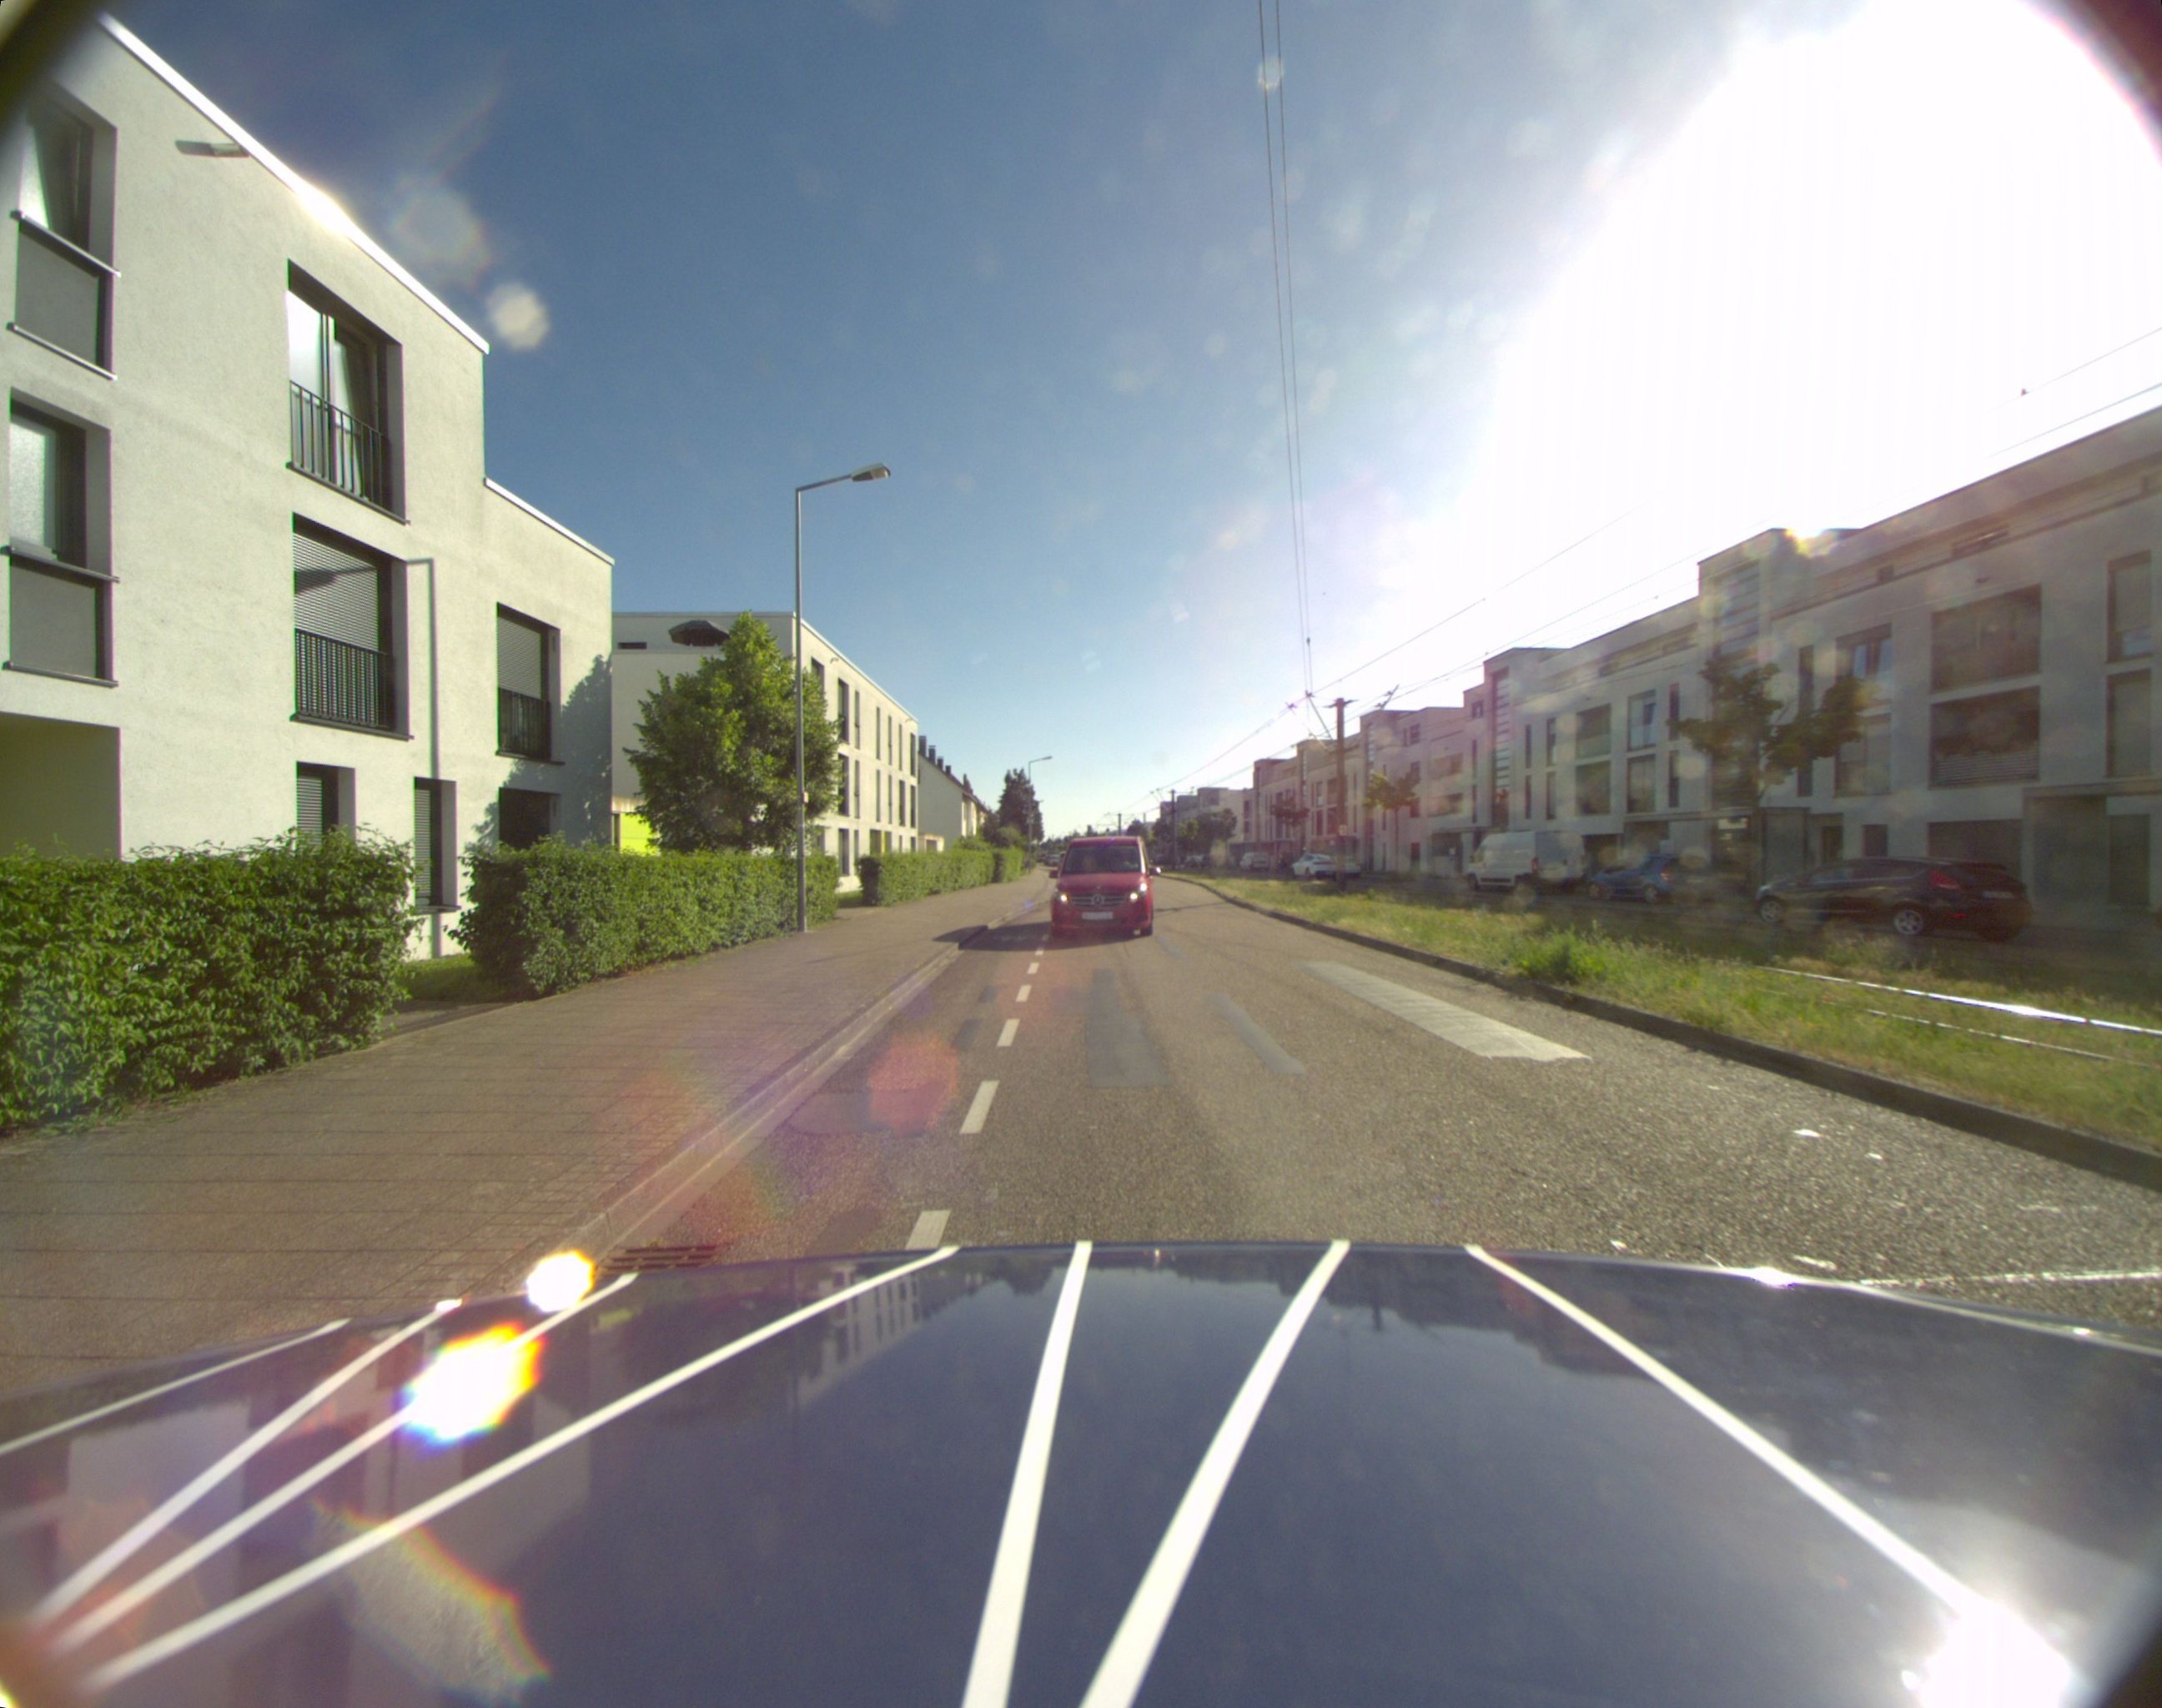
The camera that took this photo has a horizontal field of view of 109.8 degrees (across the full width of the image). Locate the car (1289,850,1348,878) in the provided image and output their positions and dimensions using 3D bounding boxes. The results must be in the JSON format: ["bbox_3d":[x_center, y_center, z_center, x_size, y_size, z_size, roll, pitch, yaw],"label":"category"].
[{"bbox_3d":[14.462,0.583,46.628,1.999,1.586,4.645,2,0,-2],"label":"car"}]

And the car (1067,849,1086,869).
[{"bbox_3d":[-0.482,0.517,79.561,1.893,1.951,4.013,2,0,-1],"label":"car"}]

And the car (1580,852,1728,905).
[{"bbox_3d":[18.172,0.712,24.326,1.829,1.528,3.842,-2,0,0],"label":"car"}]

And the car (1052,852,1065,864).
[{"bbox_3d":[-2.990,0.519,101.958,1.700,1.604,4.013,2,0,-1],"label":"car"}]

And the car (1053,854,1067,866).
[{"bbox_3d":[-2.672,0.722,96.270,1.700,1.466,4.013,2,0,-1],"label":"car"}]

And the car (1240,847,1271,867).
[{"bbox_3d":[16.526,0.282,72.151,1.766,1.859,4.155,-2,0,-4],"label":"car"}]

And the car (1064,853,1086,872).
[{"bbox_3d":[-0.524,0.699,62.787,1.700,1.466,4.013,2,0,-1],"label":"car"}]

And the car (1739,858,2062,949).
[{"bbox_3d":[15.064,0.819,14.369,1.792,1.410,4.000,1,0,1],"label":"car"}]

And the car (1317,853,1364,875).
[{"bbox_3d":[17.661,0.646,51.849,1.521,1.423,4.155,-2,0,-4],"label":"car"}]

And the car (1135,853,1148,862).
[{"bbox_3d":[10.887,0.648,137.299,1.766,1.590,4.155,-2,0,-4],"label":"car"}]

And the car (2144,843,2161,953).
[{"bbox_3d":[18.543,0.704,10.666,1.885,1.785,3.837,-2,0,1],"label":"car"}]

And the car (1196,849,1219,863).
[{"bbox_3d":[15.231,0.254,91.841,1.766,1.590,4.155,-2,0,-4],"label":"car"}]

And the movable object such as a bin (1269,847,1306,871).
[{"bbox_3d":[17.364,0.378,64.092,1.766,1.926,4.155,-2,0,-4],"label":"movable object such as a bin"}]

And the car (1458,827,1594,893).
[{"bbox_3d":[18.075,0.236,31.287,2.146,2.430,5.589,-2,0,-2],"label":"car"}]

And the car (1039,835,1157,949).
[{"bbox_3d":[0.478,0.653,15.802,1.979,1.922,5.206,-2,0,4],"label":"car"}]

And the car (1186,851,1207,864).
[{"bbox_3d":[14.836,0.381,97.476,1.766,1.590,4.155,-2,0,-4],"label":"car"}]
